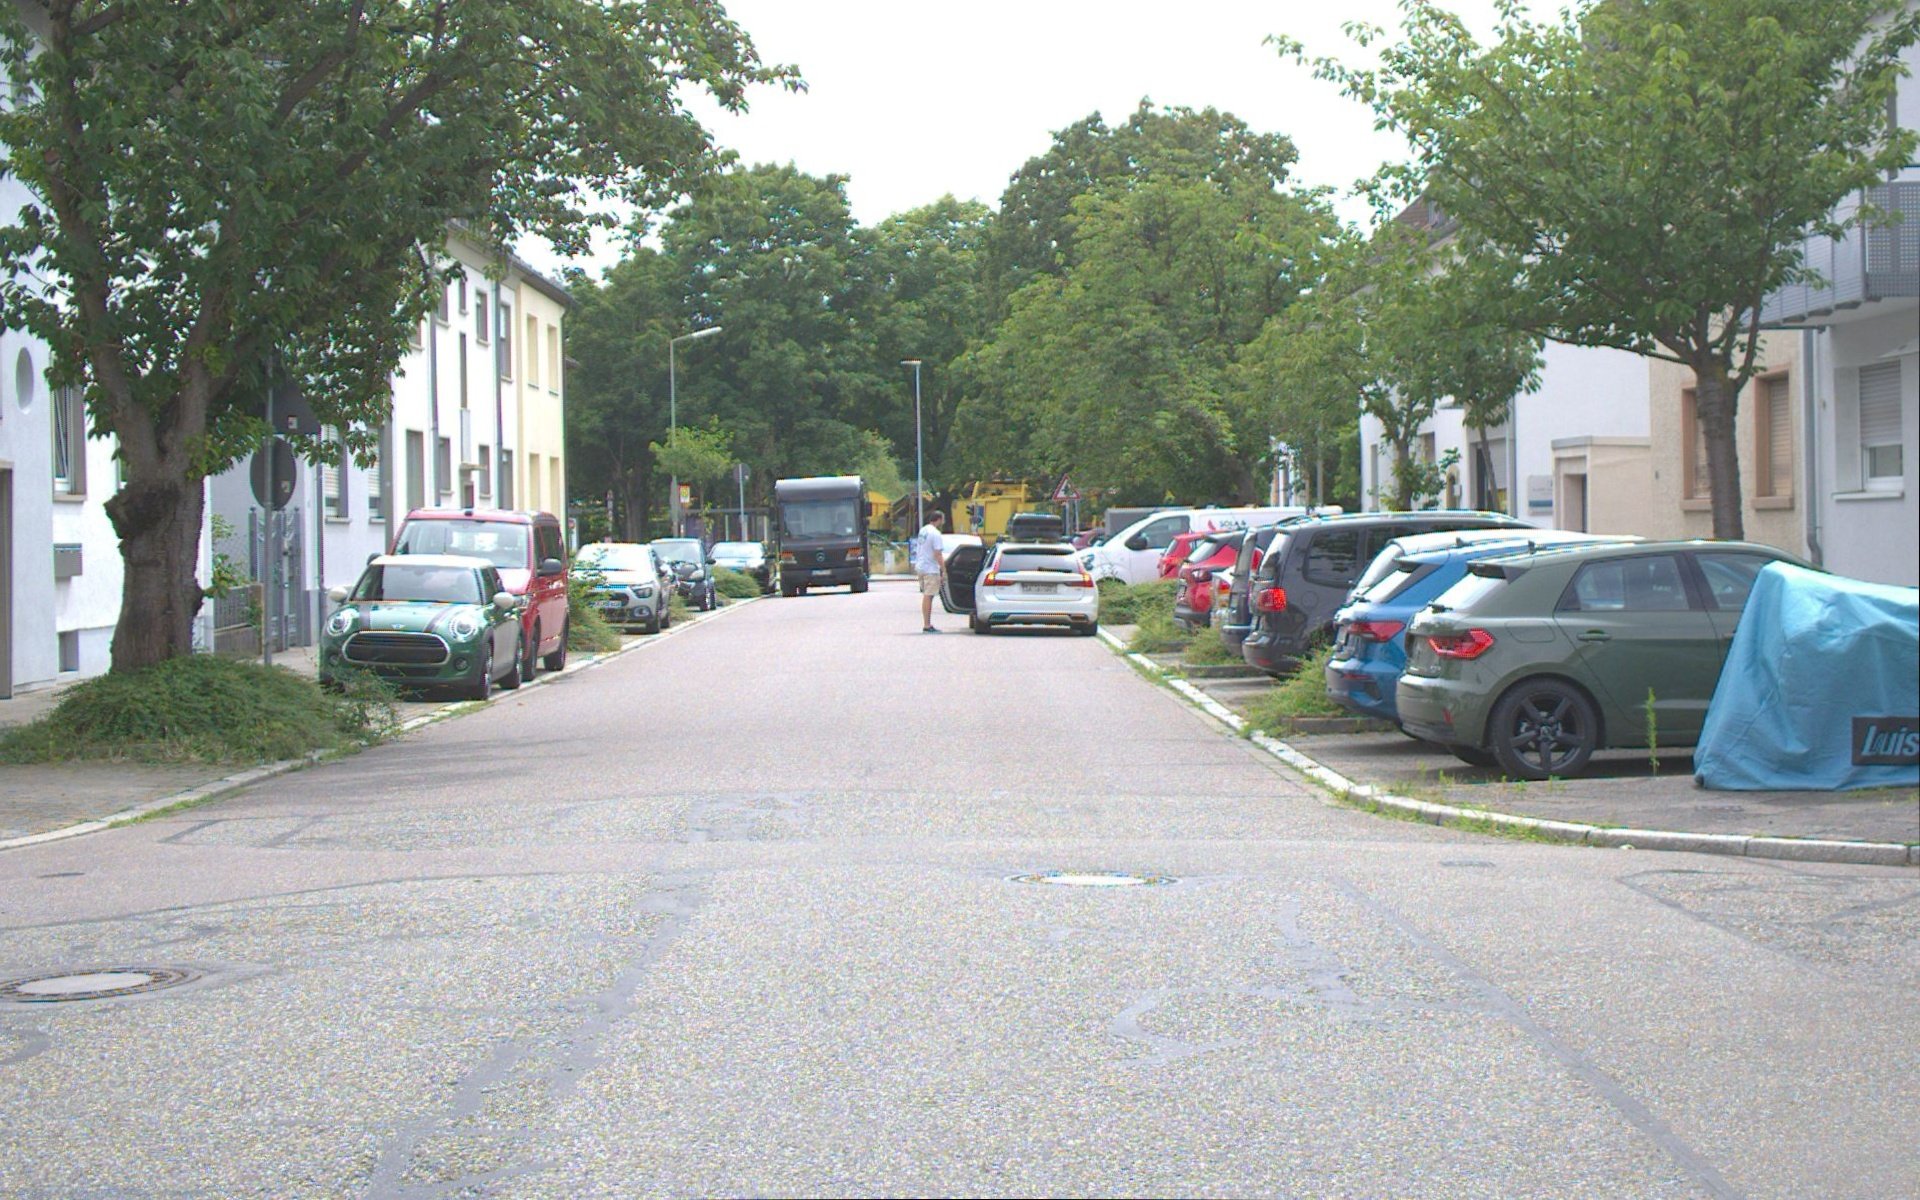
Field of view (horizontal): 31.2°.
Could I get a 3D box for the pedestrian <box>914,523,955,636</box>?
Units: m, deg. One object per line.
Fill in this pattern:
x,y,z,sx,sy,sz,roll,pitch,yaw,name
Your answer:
-0.391,-0.316,52.480,0.522,1.698,0.444,-3,1,4,pedestrian

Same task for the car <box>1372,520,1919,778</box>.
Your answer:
4.533,0.267,21.180,3.747,1.361,1.773,-3,1,1,car

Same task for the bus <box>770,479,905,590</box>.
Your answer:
-3.142,-1.751,90.886,3.004,2.751,8.924,-1,1,1,bus

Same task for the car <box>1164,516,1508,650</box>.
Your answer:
4.599,-0.226,42.442,3.987,1.434,1.723,-3,1,0,car

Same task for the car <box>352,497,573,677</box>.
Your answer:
-5.880,-0.199,41.135,1.993,2.007,4.521,-1,1,0,car

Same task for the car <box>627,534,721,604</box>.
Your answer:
-6.026,-0.672,72.671,1.651,1.372,3.722,-3,1,0,car

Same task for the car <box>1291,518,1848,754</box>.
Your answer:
4.142,0.225,23.732,3.517,1.407,1.559,-3,1,1,car

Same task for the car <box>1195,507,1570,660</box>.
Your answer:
4.756,-0.204,39.090,3.987,1.513,1.723,-3,1,0,car

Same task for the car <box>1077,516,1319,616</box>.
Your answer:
4.060,-0.596,59.102,3.987,1.513,1.723,-3,1,0,car

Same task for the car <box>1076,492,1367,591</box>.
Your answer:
4.641,-1.052,61.439,4.974,1.513,1.769,-3,1,-1,car

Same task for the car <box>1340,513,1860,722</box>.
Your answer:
5.309,0.125,28.863,3.987,1.513,1.723,-3,1,0,car

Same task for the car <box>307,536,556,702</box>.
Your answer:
-5.468,0.151,35.979,1.763,1.548,3.730,-3,1,3,car

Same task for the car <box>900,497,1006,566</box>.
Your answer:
-0.148,-1.741,86.433,1.994,1.612,3.999,-3,1,9,car

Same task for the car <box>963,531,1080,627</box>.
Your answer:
0.952,-0.349,53.168,1.687,1.349,3.826,-3,1,1,car

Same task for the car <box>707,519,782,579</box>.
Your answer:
-5.742,-1.368,91.977,1.621,1.497,4.000,-3,1,1,car

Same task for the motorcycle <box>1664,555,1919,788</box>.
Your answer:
5.027,0.367,18.672,2.193,1.206,0.940,-1,1,-2,motorcycle

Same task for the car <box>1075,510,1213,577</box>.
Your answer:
4.887,-1.503,91.507,3.530,1.597,1.773,-3,1,1,car

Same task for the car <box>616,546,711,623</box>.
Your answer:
-5.515,-0.308,64.164,1.538,1.297,3.722,-3,1,-2,car

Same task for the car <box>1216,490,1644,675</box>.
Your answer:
4.645,-0.194,34.437,3.987,1.612,1.867,-3,1,1,car

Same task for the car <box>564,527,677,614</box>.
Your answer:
-5.808,-0.528,59.099,1.651,1.372,3.722,-3,1,-2,car

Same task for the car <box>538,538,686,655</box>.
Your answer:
-4.749,-0.075,47.296,1.651,1.456,3.552,-3,1,-1,car

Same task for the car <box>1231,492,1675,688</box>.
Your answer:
4.440,-0.111,31.359,3.747,1.559,1.773,-3,1,1,car
